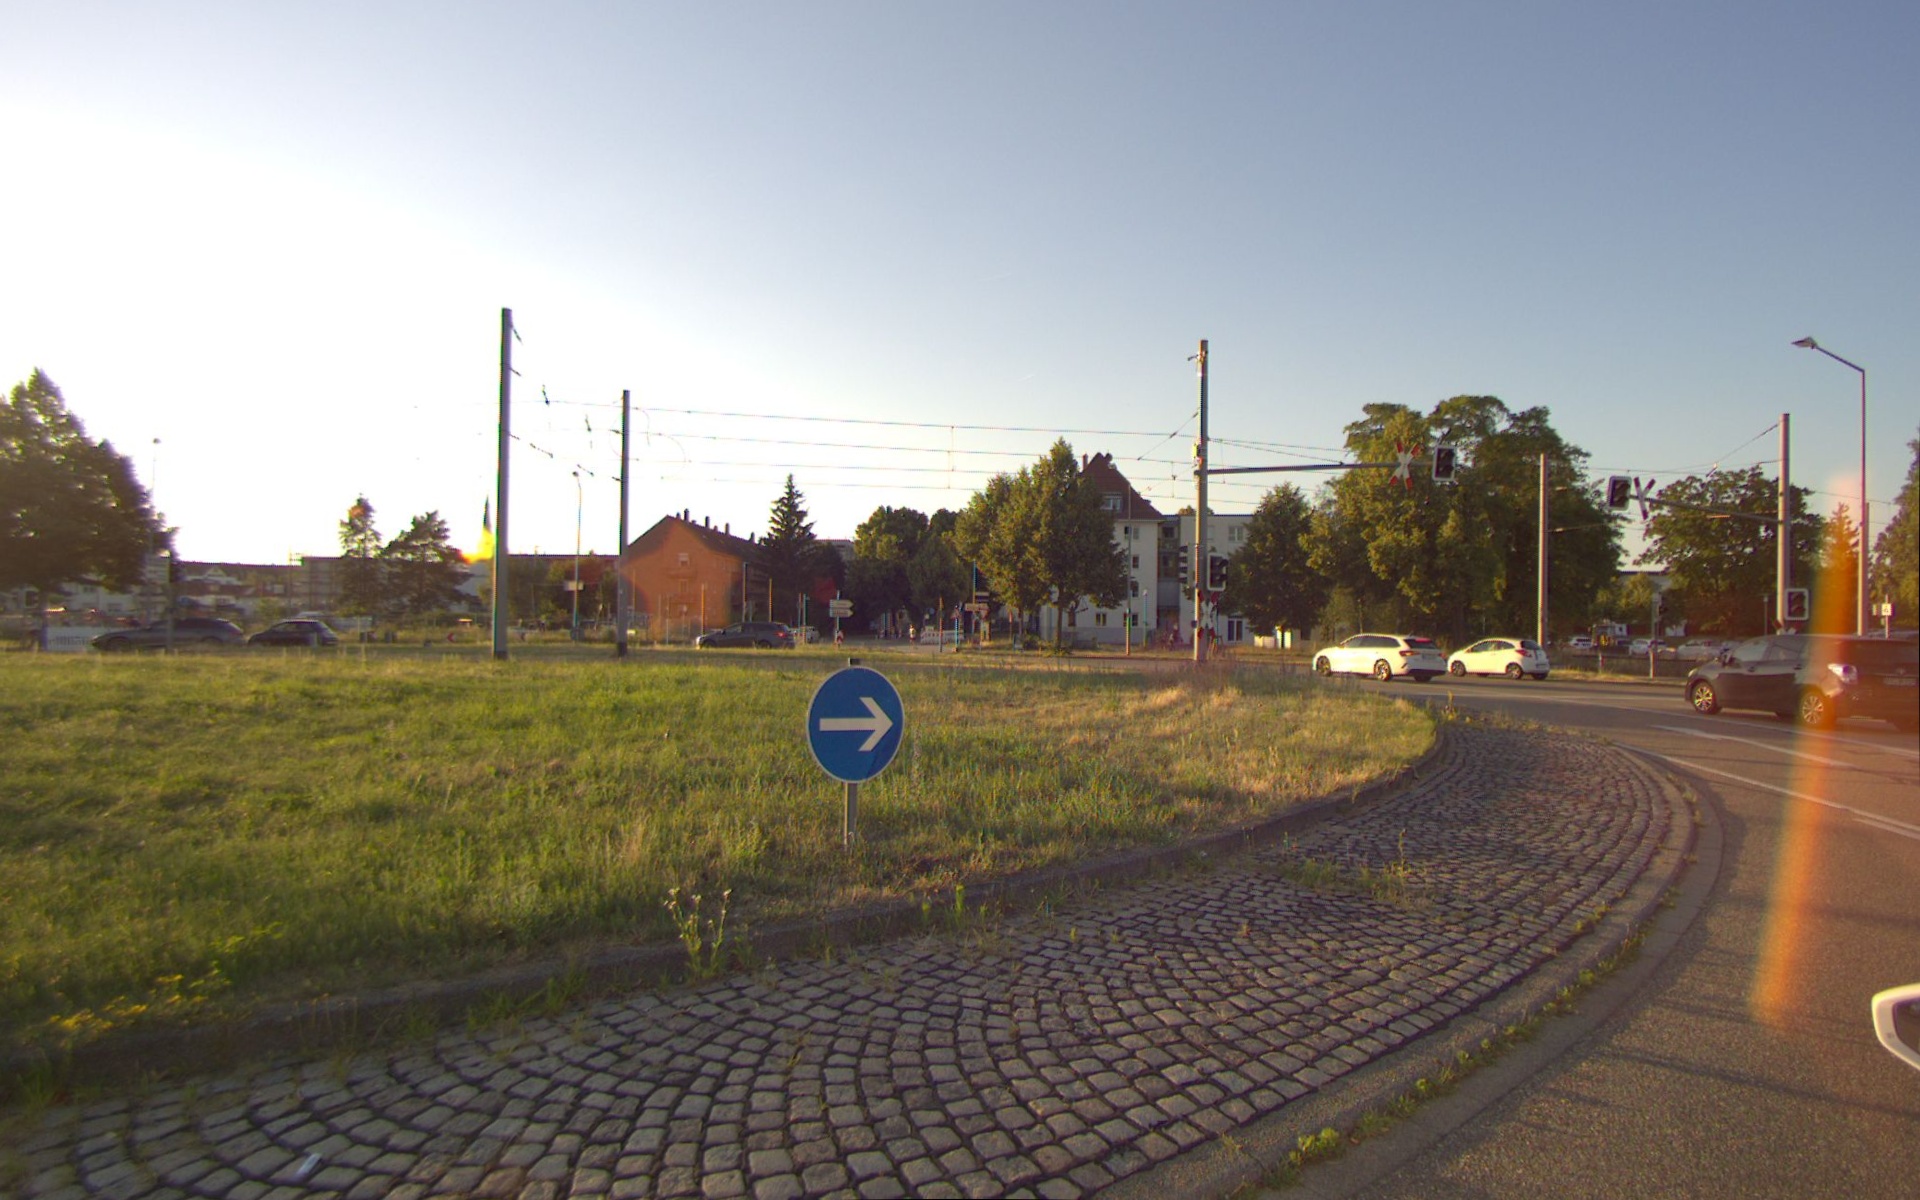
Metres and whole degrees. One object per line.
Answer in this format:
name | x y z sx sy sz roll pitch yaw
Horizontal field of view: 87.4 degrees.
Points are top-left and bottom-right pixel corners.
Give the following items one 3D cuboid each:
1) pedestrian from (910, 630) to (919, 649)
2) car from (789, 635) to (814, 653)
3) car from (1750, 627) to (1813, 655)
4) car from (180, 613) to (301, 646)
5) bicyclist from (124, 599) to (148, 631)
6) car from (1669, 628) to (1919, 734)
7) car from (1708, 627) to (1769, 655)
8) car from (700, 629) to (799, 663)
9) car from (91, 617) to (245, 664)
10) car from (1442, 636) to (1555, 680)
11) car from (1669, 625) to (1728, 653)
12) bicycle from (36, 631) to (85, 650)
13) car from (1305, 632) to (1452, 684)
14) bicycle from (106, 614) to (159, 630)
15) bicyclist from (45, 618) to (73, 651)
pedestrian | -3.329 2.874 73.079 0.541 1.392 0.356 1 -1 -26
car | -14.516 4.047 92.229 1.596 1.506 4.001 1 -1 2
car | 66.233 3.255 81.056 1.960 2.126 4.001 1 -1 2
car | -32.614 1.337 45.640 4.066 1.465 1.746 0 -1 -16
bicyclist | -43.951 0.800 53.580 0.786 1.655 0.693 0 -1 -18
car | 15.390 1.381 18.456 1.767 1.654 4.458 2 -1 4
car | 62.900 3.270 81.196 1.960 2.126 4.001 1 -1 2
car | -9.483 2.086 45.485 4.051 1.486 1.752 0 -1 6
car | -30.830 1.558 39.311 4.548 1.771 1.736 1 -1 -33
car | 20.073 2.151 37.568 1.535 1.462 3.461 2 -1 -28
car | 59.584 3.110 81.141 1.960 2.126 4.001 1 -1 2
bicycle | -46.679 2.092 52.159 0.539 0.993 1.842 0 -1 26
car | 13.176 1.787 31.930 1.701 1.468 4.529 0 -1 -20
bicycle | -44.186 1.193 53.640 2.102 0.857 0.510 0 -1 -19
bicyclist | -46.708 1.789 52.084 0.800 1.662 0.814 0 -1 26
